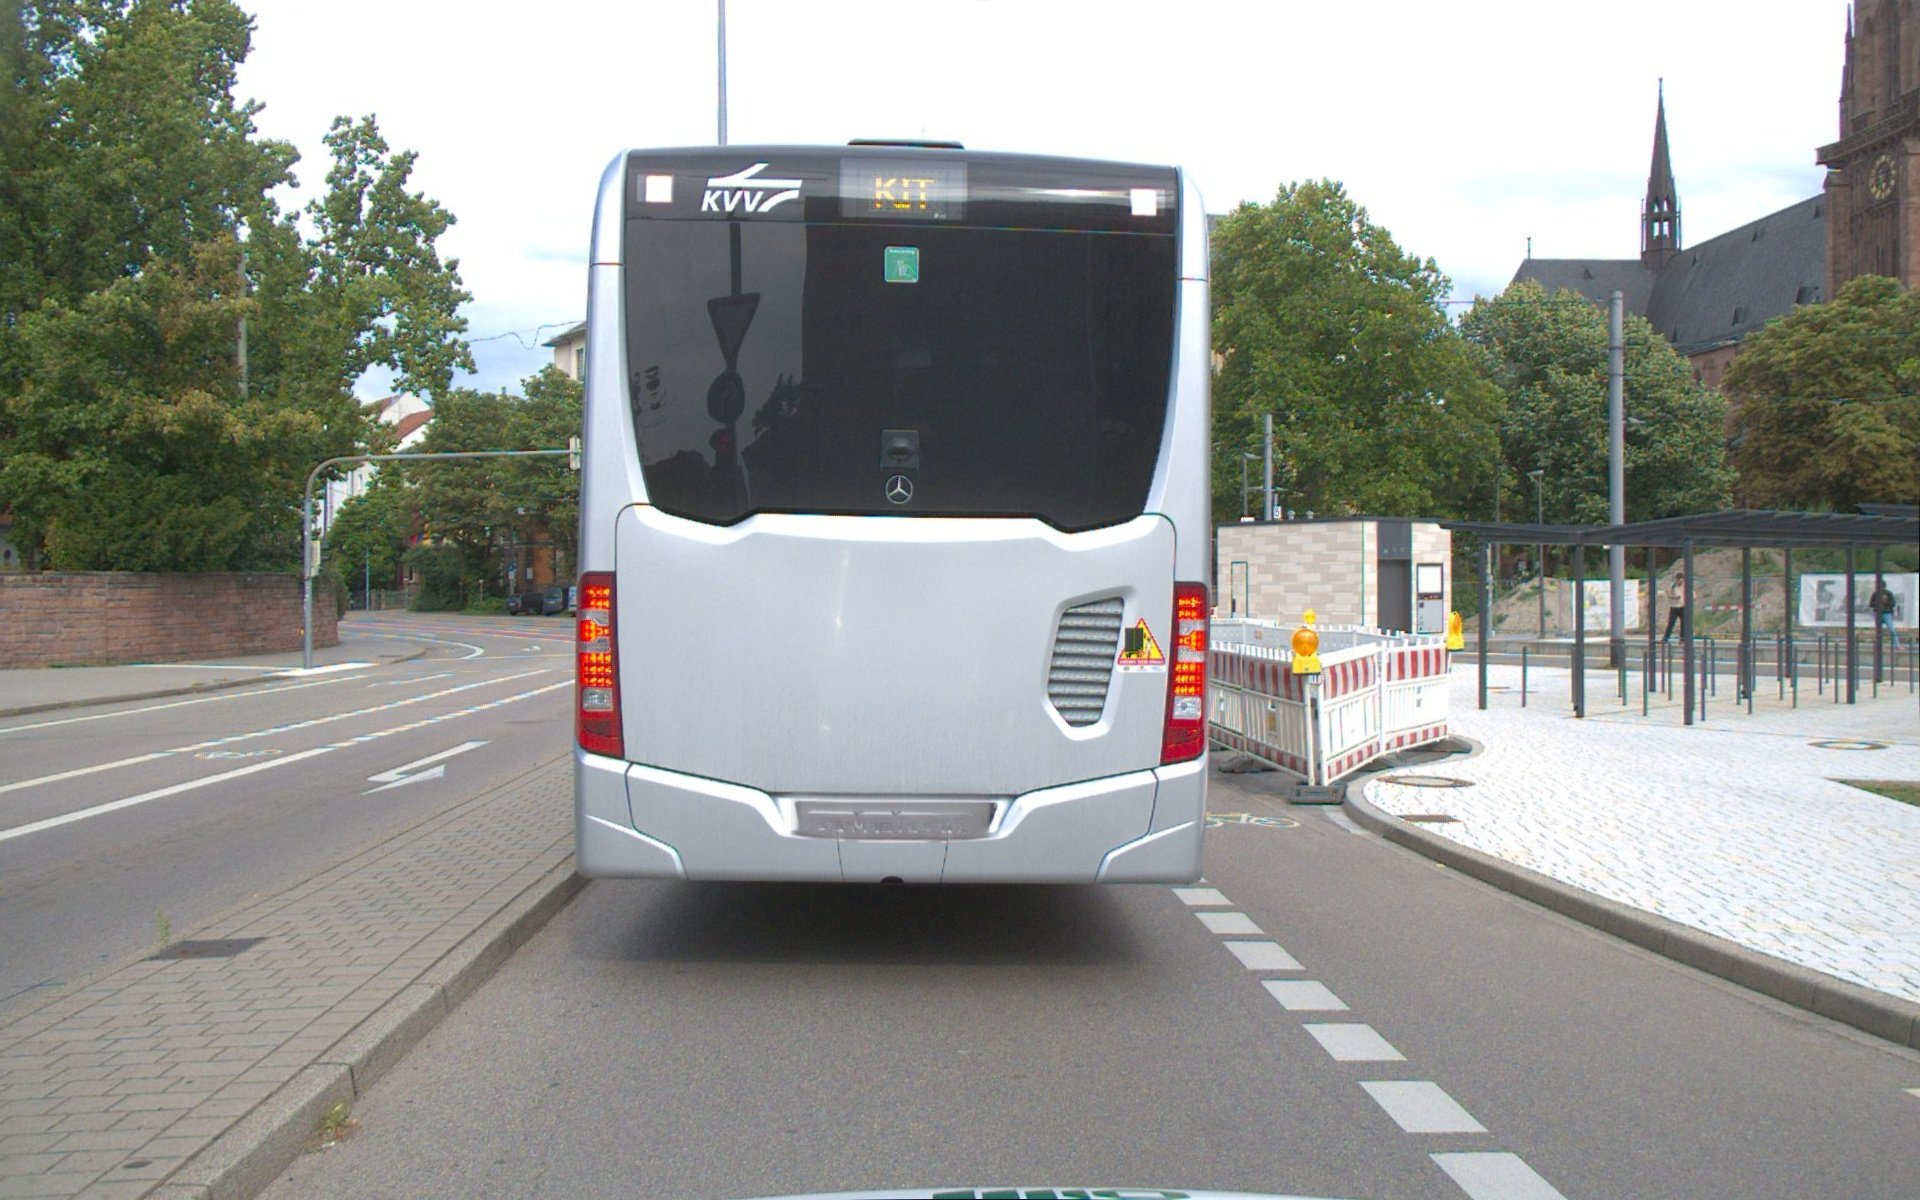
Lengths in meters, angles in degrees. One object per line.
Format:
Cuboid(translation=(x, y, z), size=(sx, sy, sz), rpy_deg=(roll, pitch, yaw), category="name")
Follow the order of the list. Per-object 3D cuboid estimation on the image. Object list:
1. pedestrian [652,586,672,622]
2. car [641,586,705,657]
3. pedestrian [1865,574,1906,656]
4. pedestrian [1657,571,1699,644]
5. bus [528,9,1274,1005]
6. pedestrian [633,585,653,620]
Cuboid(translation=(-17.015, 0.214, 94.363), size=(0.877, 2.049, 1.000), rpy_deg=(0, 0, -28), category="pedestrian")
Cuboid(translation=(-9.374, 0.660, 54.241), size=(1.957, 2.048, 3.993), rpy_deg=(0, 3, -9), category="car")
Cuboid(translation=(21.262, 0.336, 37.994), size=(0.519, 1.832, 0.667), rpy_deg=(-2, 3, -44), category="pedestrian")
Cuboid(translation=(18.388, 0.174, 42.379), size=(0.803, 1.832, 0.753), rpy_deg=(0, 2, 9), category="pedestrian")
Cuboid(translation=(-0.610, -0.289, 12.974), size=(2.651, 3.498, 14.173), rpy_deg=(0, 0, -3), category="bus")
Cuboid(translation=(-18.630, 0.117, 97.199), size=(0.877, 2.049, 1.000), rpy_deg=(0, 0, -28), category="pedestrian")
